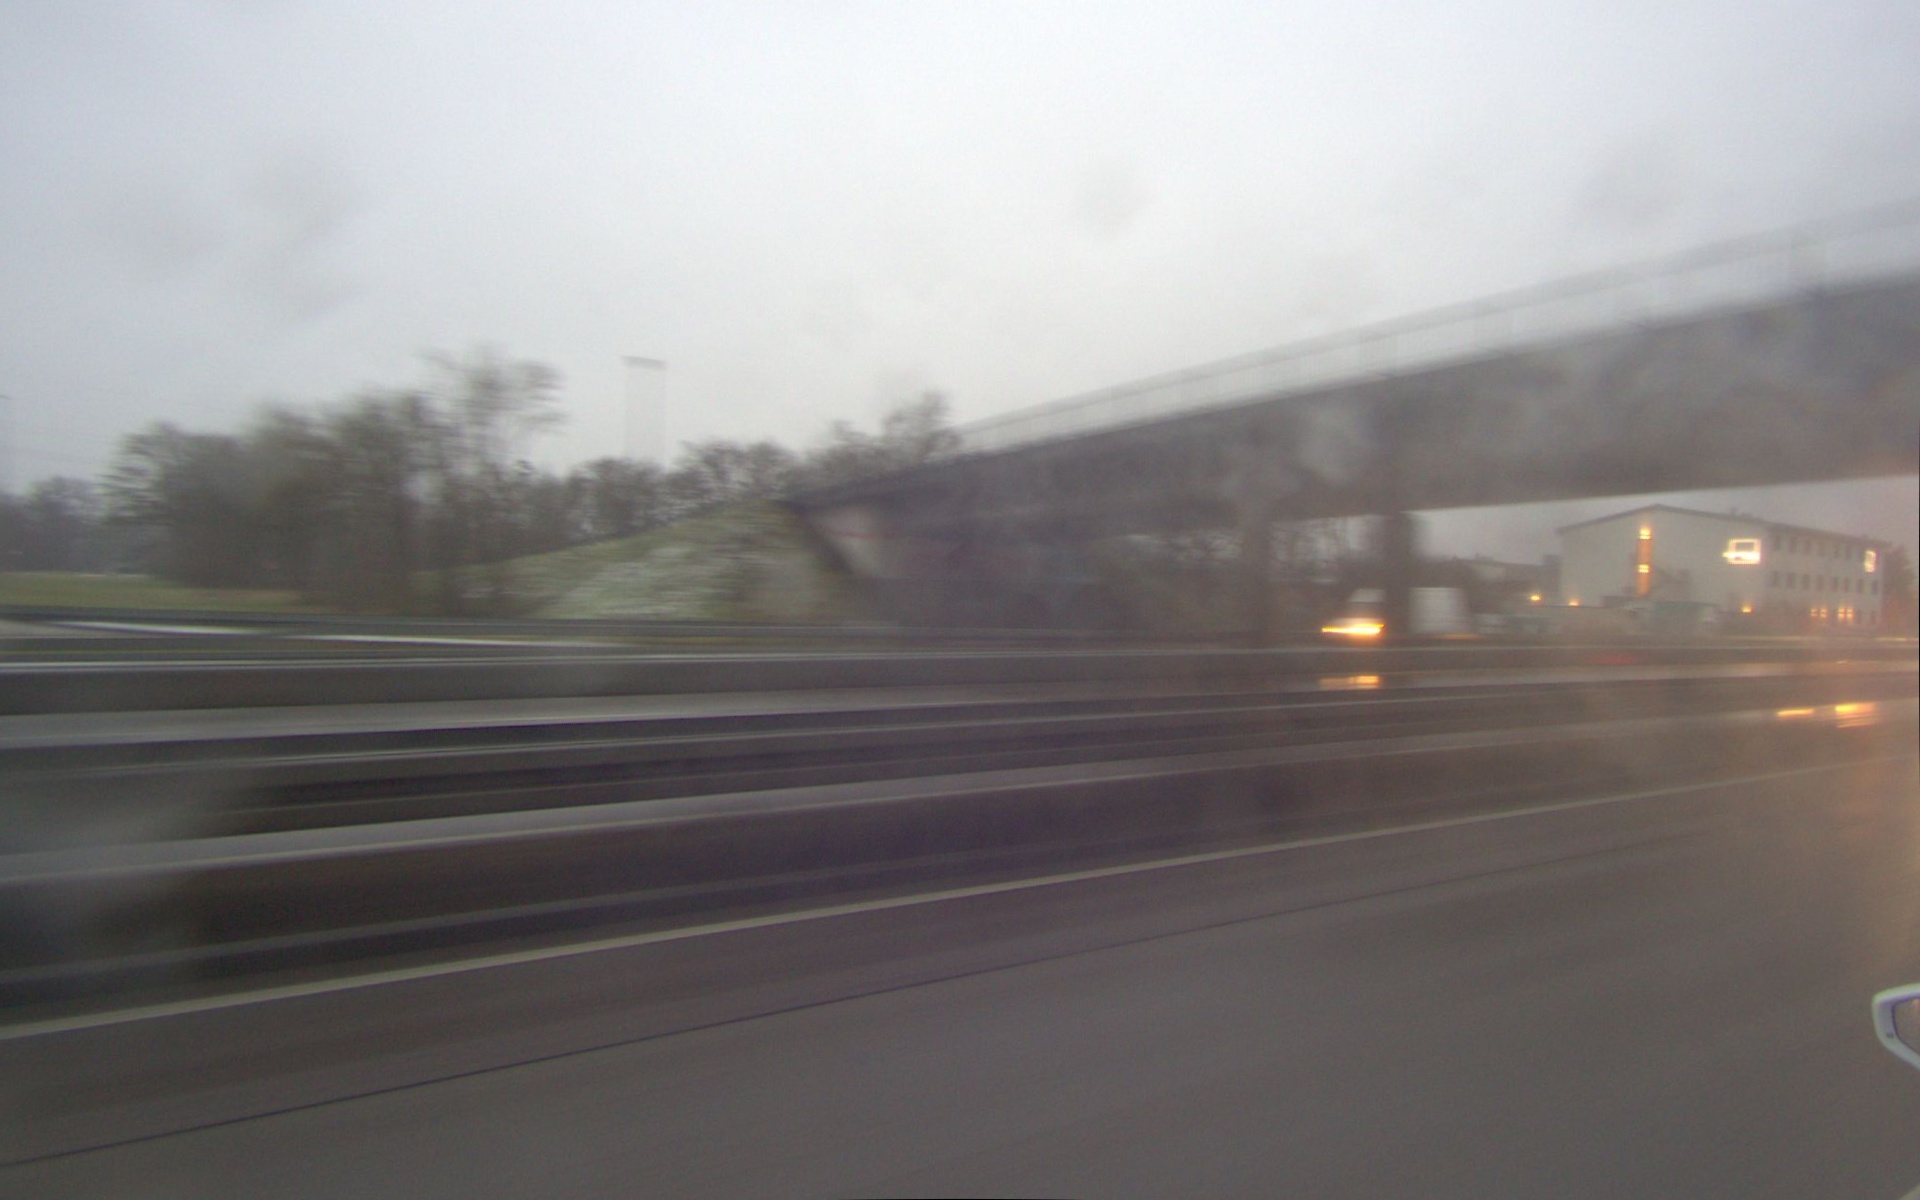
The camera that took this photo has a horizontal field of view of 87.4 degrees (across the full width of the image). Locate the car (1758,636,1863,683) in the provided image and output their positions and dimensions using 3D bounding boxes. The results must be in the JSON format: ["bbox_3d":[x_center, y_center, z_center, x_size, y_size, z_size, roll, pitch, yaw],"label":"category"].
[{"bbox_3d":[25.239,1.723,29.787,3.329,1.238,1.426,1,0,-32],"label":"car"}]

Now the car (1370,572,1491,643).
[{"bbox_3d":[19.772,0.300,42.220,4.519,2.810,2.182,1,3,-27],"label":"car"}]
